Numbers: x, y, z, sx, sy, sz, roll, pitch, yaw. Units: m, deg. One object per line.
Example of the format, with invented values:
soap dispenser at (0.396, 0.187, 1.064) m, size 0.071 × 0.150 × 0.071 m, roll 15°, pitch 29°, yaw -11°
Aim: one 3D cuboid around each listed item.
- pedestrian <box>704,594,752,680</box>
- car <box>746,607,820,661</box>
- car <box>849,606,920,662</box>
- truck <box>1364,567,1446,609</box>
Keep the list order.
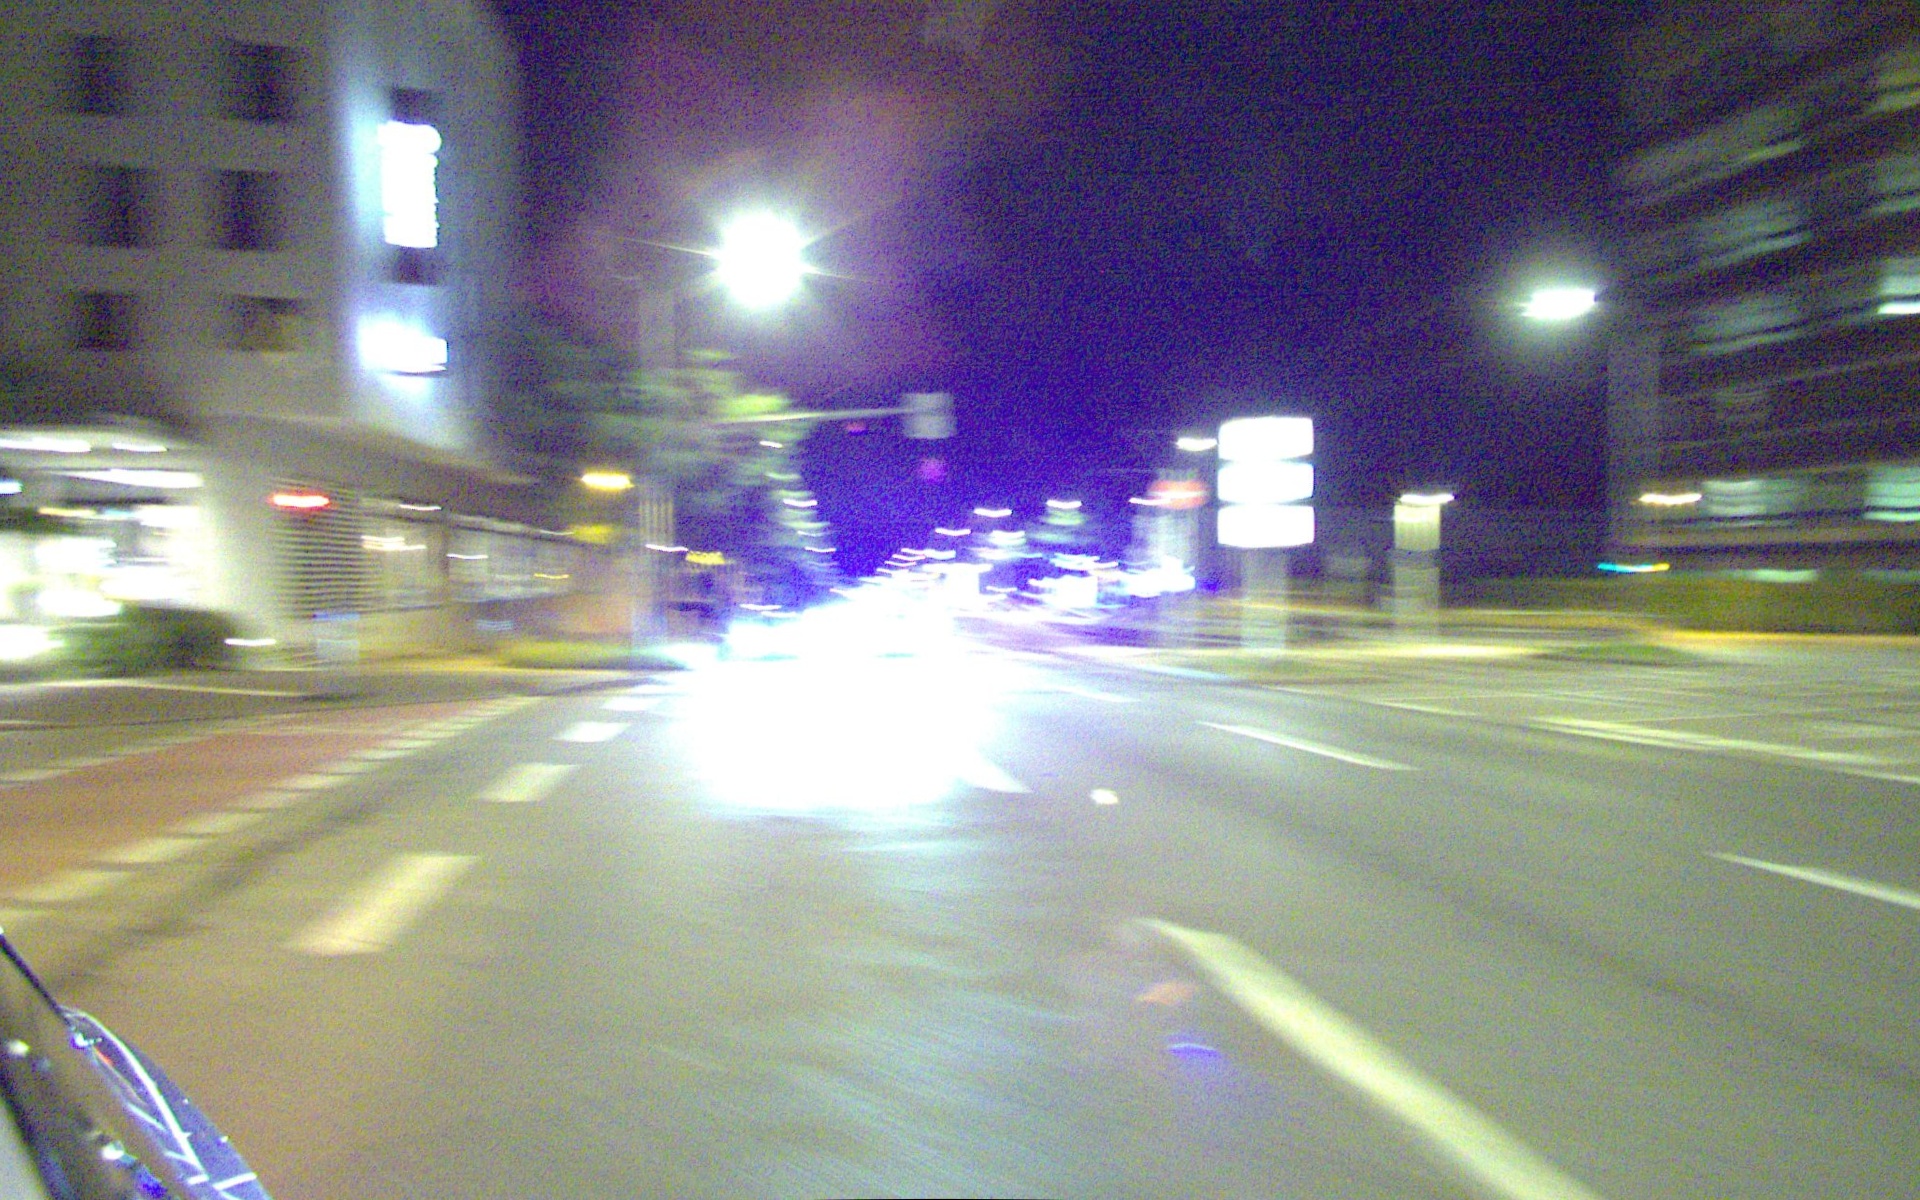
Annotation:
pedestrian at (-4.572, 0.725, 19.927) m, size 0.848 × 1.646 × 0.673 m, roll 0°, pitch -1°, yaw -19°
car at (-5.498, 1.053, 31.842) m, size 1.879 × 1.583 × 4.003 m, roll 0°, pitch -2°, yaw -4°
car at (-2.341, 0.985, 30.538) m, size 1.790 × 1.514 × 4.208 m, roll -2°, pitch -1°, yaw -8°
truck at (34.771, -0.910, 79.277) m, size 2.864 × 3.111 × 5.933 m, roll 0°, pitch 0°, yaw -14°
